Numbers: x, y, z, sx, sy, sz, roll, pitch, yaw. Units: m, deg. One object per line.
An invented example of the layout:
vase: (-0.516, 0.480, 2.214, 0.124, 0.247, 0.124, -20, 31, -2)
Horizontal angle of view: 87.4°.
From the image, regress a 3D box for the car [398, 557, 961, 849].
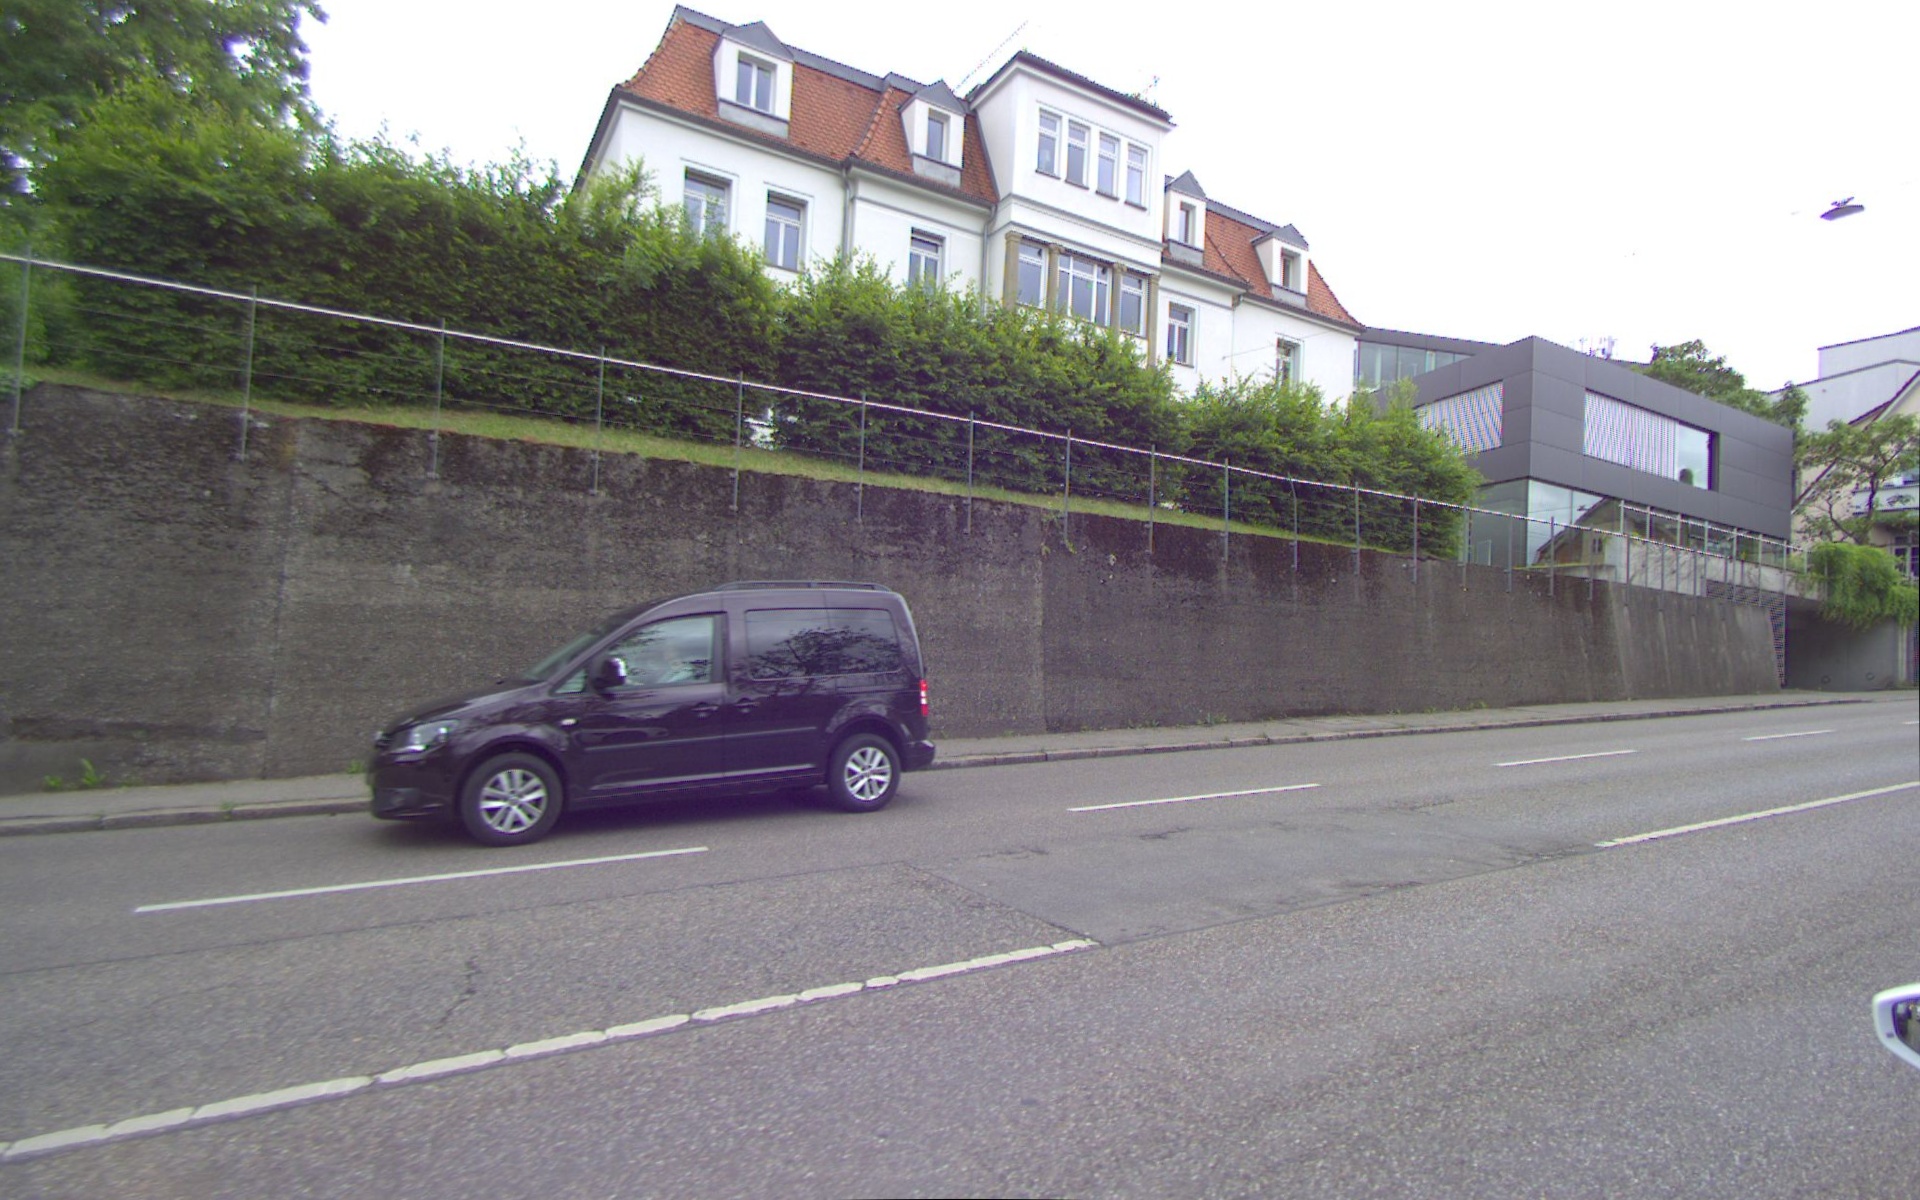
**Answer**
car: (-2.224, 0.758, 8.294, 4.159, 1.866, 1.823, 2, -3, -31)
